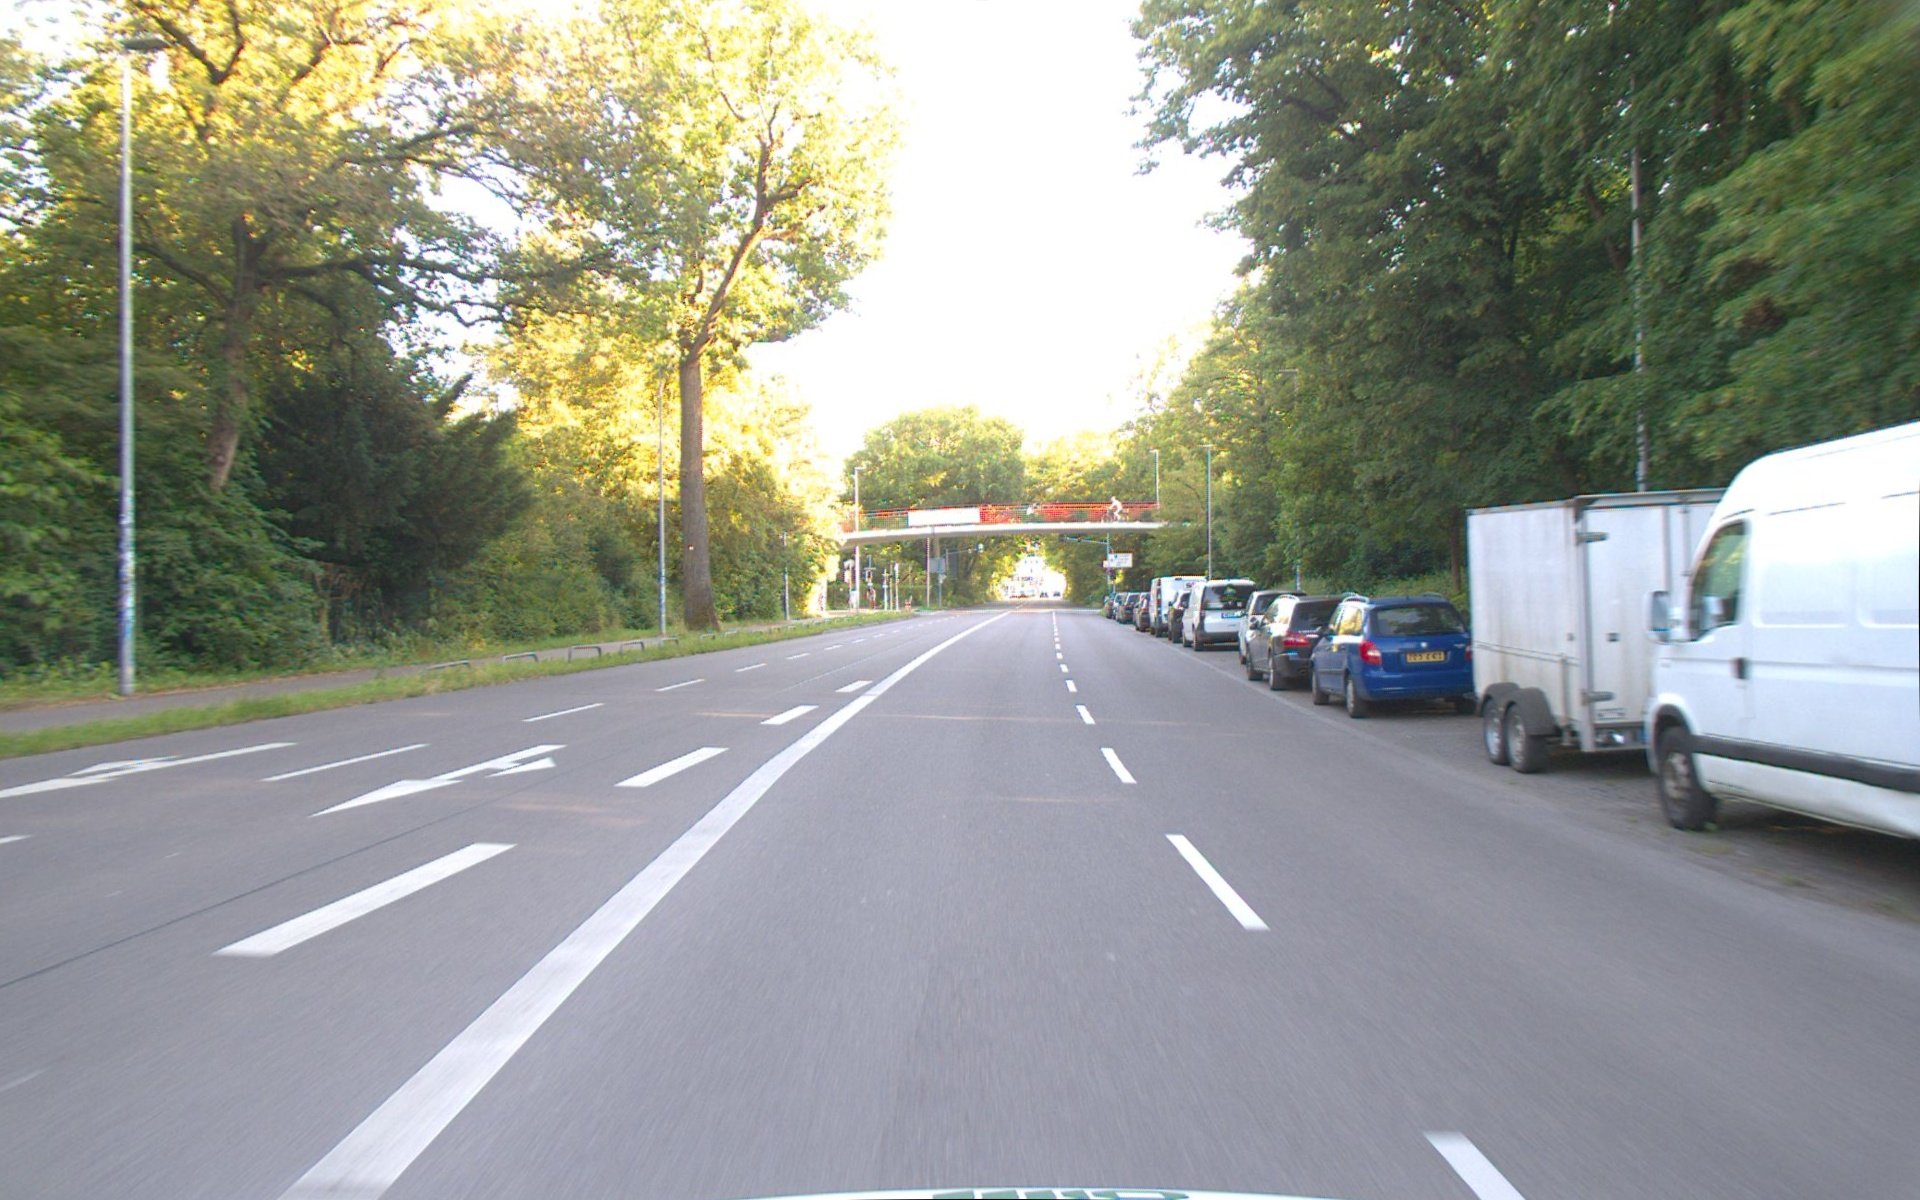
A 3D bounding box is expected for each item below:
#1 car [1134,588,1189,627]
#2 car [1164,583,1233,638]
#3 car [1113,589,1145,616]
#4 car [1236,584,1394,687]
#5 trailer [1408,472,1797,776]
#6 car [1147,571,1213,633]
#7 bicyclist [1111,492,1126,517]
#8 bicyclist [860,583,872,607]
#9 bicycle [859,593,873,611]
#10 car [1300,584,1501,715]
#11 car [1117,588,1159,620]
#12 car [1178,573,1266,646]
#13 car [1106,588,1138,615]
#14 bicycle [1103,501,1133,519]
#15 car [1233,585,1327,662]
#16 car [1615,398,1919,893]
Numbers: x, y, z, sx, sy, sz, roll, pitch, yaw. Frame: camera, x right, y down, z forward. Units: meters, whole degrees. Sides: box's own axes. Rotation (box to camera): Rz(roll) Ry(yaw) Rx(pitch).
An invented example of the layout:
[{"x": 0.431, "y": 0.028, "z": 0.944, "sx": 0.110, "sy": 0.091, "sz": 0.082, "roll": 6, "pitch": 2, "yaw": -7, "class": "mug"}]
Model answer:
[{"x": 7.741, "y": 0.268, "z": 63.892, "sx": 1.829, "sy": 1.431, "sz": 4.371, "roll": -1, "pitch": 0, "yaw": 3, "class": "car"}, {"x": 7.308, "y": 0.302, "z": 50.975, "sx": 1.722, "sy": 1.574, "sz": 4.430, "roll": -1, "pitch": 0, "yaw": 3, "class": "car"}, {"x": 9.491, "y": 0.124, "z": 92.890, "sx": 1.737, "sy": 1.479, "sz": 4.017, "roll": -1, "pitch": 0, "yaw": 6, "class": "car"}, {"x": 5.927, "y": 0.544, "z": 28.146, "sx": 1.722, "sy": 1.562, "sz": 4.990, "roll": -1, "pitch": 0, "yaw": 2, "class": "car"}, {"x": 5.982, "y": 0.195, "z": 16.185, "sx": 1.865, "sy": 2.466, "sz": 5.127, "roll": -1, "pitch": 0, "yaw": 1, "class": "trailer"}, {"x": 7.560, "y": 0.073, "z": 57.298, "sx": 1.829, "sy": 2.016, "sz": 5.477, "roll": -1, "pitch": 0, "yaw": 3, "class": "car"}, {"x": 10.701, "y": -6.441, "z": 111.954, "sx": 0.950, "sy": 1.614, "sz": 0.714, "roll": 1, "pitch": -1, "yaw": 1, "class": "bicyclist"}, {"x": -6.243, "y": -0.328, "z": 109.710, "sx": 0.697, "sy": 1.586, "sz": 1.143, "roll": 1, "pitch": -1, "yaw": 3, "class": "bicyclist"}, {"x": -6.247, "y": 0.161, "z": 109.705, "sx": 0.697, "sy": 1.167, "sz": 1.994, "roll": 1, "pitch": 0, "yaw": 3, "class": "bicycle"}, {"x": 5.824, "y": 0.605, "z": 22.375, "sx": 1.643, "sy": 1.562, "sz": 4.354, "roll": -1, "pitch": 0, "yaw": 2, "class": "car"}, {"x": 8.570, "y": 0.186, "z": 80.065, "sx": 1.603, "sy": 1.479, "sz": 4.899, "roll": -1, "pitch": 0, "yaw": 2, "class": "car"}, {"x": 7.004, "y": 0.241, "z": 44.653, "sx": 1.722, "sy": 1.835, "sz": 4.738, "roll": -1, "pitch": 0, "yaw": 2, "class": "car"}, {"x": 9.506, "y": 0.083, "z": 97.383, "sx": 1.737, "sy": 1.479, "sz": 4.390, "roll": -1, "pitch": 0, "yaw": 4, "class": "car"}, {"x": 10.683, "y": -6.102, "z": 111.949, "sx": 1.946, "sy": 1.167, "sz": 0.714, "roll": 1, "pitch": -1, "yaw": 1, "class": "bicycle"}, {"x": 6.679, "y": 0.476, "z": 34.807, "sx": 1.552, "sy": 1.521, "sz": 3.182, "roll": -1, "pitch": 0, "yaw": 4, "class": "car"}, {"x": 5.733, "y": 0.215, "z": 9.402, "sx": 1.865, "sy": 2.466, "sz": 5.576, "roll": -1, "pitch": 0, "yaw": 1, "class": "car"}]
